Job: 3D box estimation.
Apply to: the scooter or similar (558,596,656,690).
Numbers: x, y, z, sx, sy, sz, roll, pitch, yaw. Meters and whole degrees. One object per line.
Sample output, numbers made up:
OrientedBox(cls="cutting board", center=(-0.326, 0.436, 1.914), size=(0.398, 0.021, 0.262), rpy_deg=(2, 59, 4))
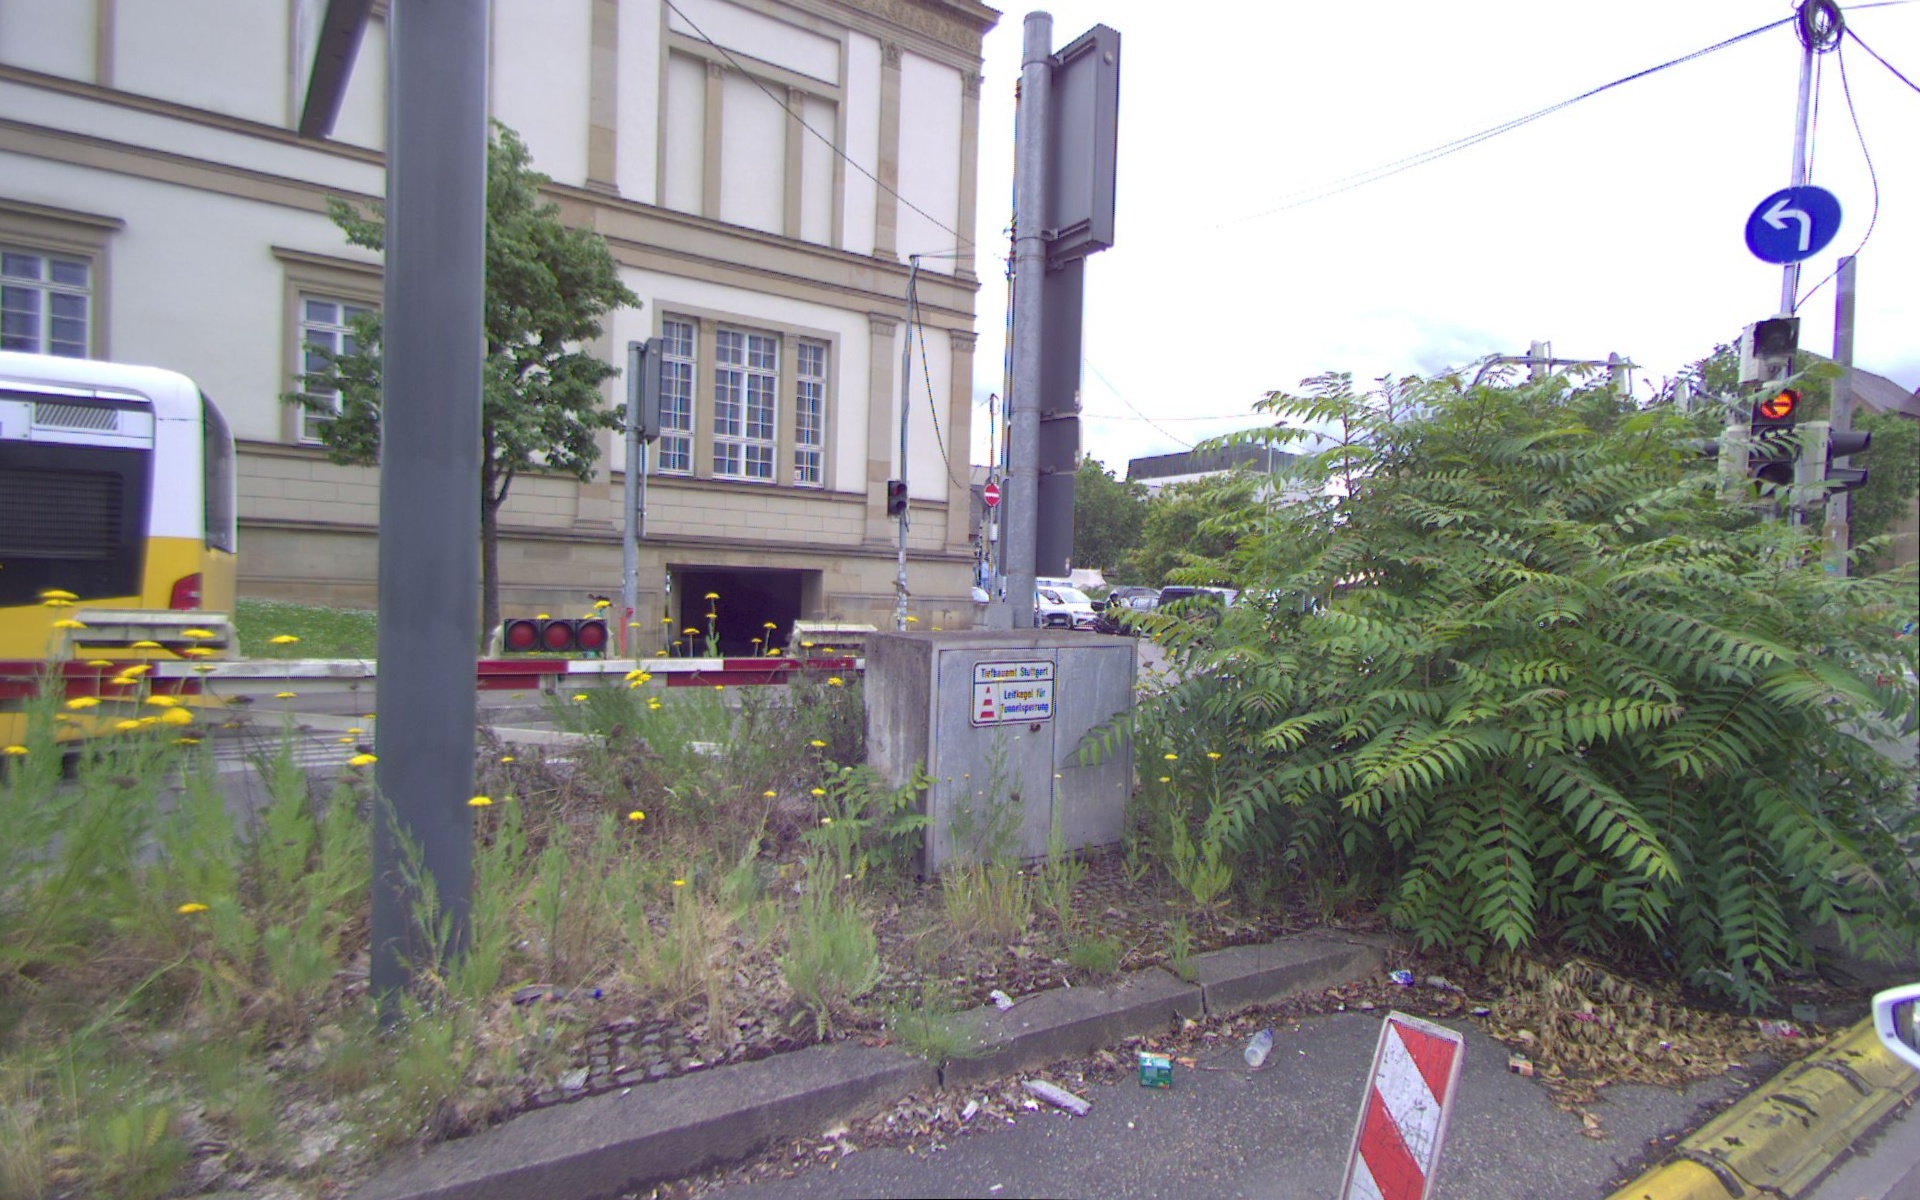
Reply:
OrientedBox(cls="scooter or similar", center=(-4.950, 0.592, 14.135), size=(1.132, 1.190, 0.540), rpy_deg=(6, 0, -10))

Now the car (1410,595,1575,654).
OrientedBox(cls="car", center=(17.121, 0.741, 32.453), size=(1.986, 1.698, 4.271), rpy_deg=(1, 1, -43))

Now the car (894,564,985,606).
OrientedBox(cls="car", center=(-0.951, -0.669, 43.686), size=(1.979, 1.698, 4.285), rpy_deg=(1, 1, -34))

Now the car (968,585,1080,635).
OrientedBox(cls="car", center=(2.318, 0.330, 37.480), size=(1.979, 1.698, 4.285), rpy_deg=(1, 1, -34))

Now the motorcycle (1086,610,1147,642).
OrientedBox(cls="motorcycle", center=(5.063, 0.839, 32.655), size=(0.749, 0.937, 2.042), rpy_deg=(1, 1, -35))

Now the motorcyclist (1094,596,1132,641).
OrientedBox(cls="motorcyclist", center=(4.981, 0.598, 32.770), size=(0.738, 1.442, 0.959), rpy_deg=(1, 1, -35))

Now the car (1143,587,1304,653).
OrientedBox(cls="car", center=(7.577, 0.524, 29.221), size=(1.979, 1.698, 4.285), rpy_deg=(1, 1, -34))

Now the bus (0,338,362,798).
OrientedBox(cls="bus", center=(-9.349, -0.287, 6.846), size=(9.019, 3.156, 2.830), rpy_deg=(1, 1, -32))

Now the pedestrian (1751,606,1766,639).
OrientedBox(cls="pedestrian", center=(49.751, 1.384, 62.579), size=(0.516, 2.040, 0.428), rpy_deg=(2, 1, 17))

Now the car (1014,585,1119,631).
OrientedBox(cls="car", center=(4.264, 0.308, 40.910), size=(1.979, 1.698, 4.285), rpy_deg=(1, 1, -34))
